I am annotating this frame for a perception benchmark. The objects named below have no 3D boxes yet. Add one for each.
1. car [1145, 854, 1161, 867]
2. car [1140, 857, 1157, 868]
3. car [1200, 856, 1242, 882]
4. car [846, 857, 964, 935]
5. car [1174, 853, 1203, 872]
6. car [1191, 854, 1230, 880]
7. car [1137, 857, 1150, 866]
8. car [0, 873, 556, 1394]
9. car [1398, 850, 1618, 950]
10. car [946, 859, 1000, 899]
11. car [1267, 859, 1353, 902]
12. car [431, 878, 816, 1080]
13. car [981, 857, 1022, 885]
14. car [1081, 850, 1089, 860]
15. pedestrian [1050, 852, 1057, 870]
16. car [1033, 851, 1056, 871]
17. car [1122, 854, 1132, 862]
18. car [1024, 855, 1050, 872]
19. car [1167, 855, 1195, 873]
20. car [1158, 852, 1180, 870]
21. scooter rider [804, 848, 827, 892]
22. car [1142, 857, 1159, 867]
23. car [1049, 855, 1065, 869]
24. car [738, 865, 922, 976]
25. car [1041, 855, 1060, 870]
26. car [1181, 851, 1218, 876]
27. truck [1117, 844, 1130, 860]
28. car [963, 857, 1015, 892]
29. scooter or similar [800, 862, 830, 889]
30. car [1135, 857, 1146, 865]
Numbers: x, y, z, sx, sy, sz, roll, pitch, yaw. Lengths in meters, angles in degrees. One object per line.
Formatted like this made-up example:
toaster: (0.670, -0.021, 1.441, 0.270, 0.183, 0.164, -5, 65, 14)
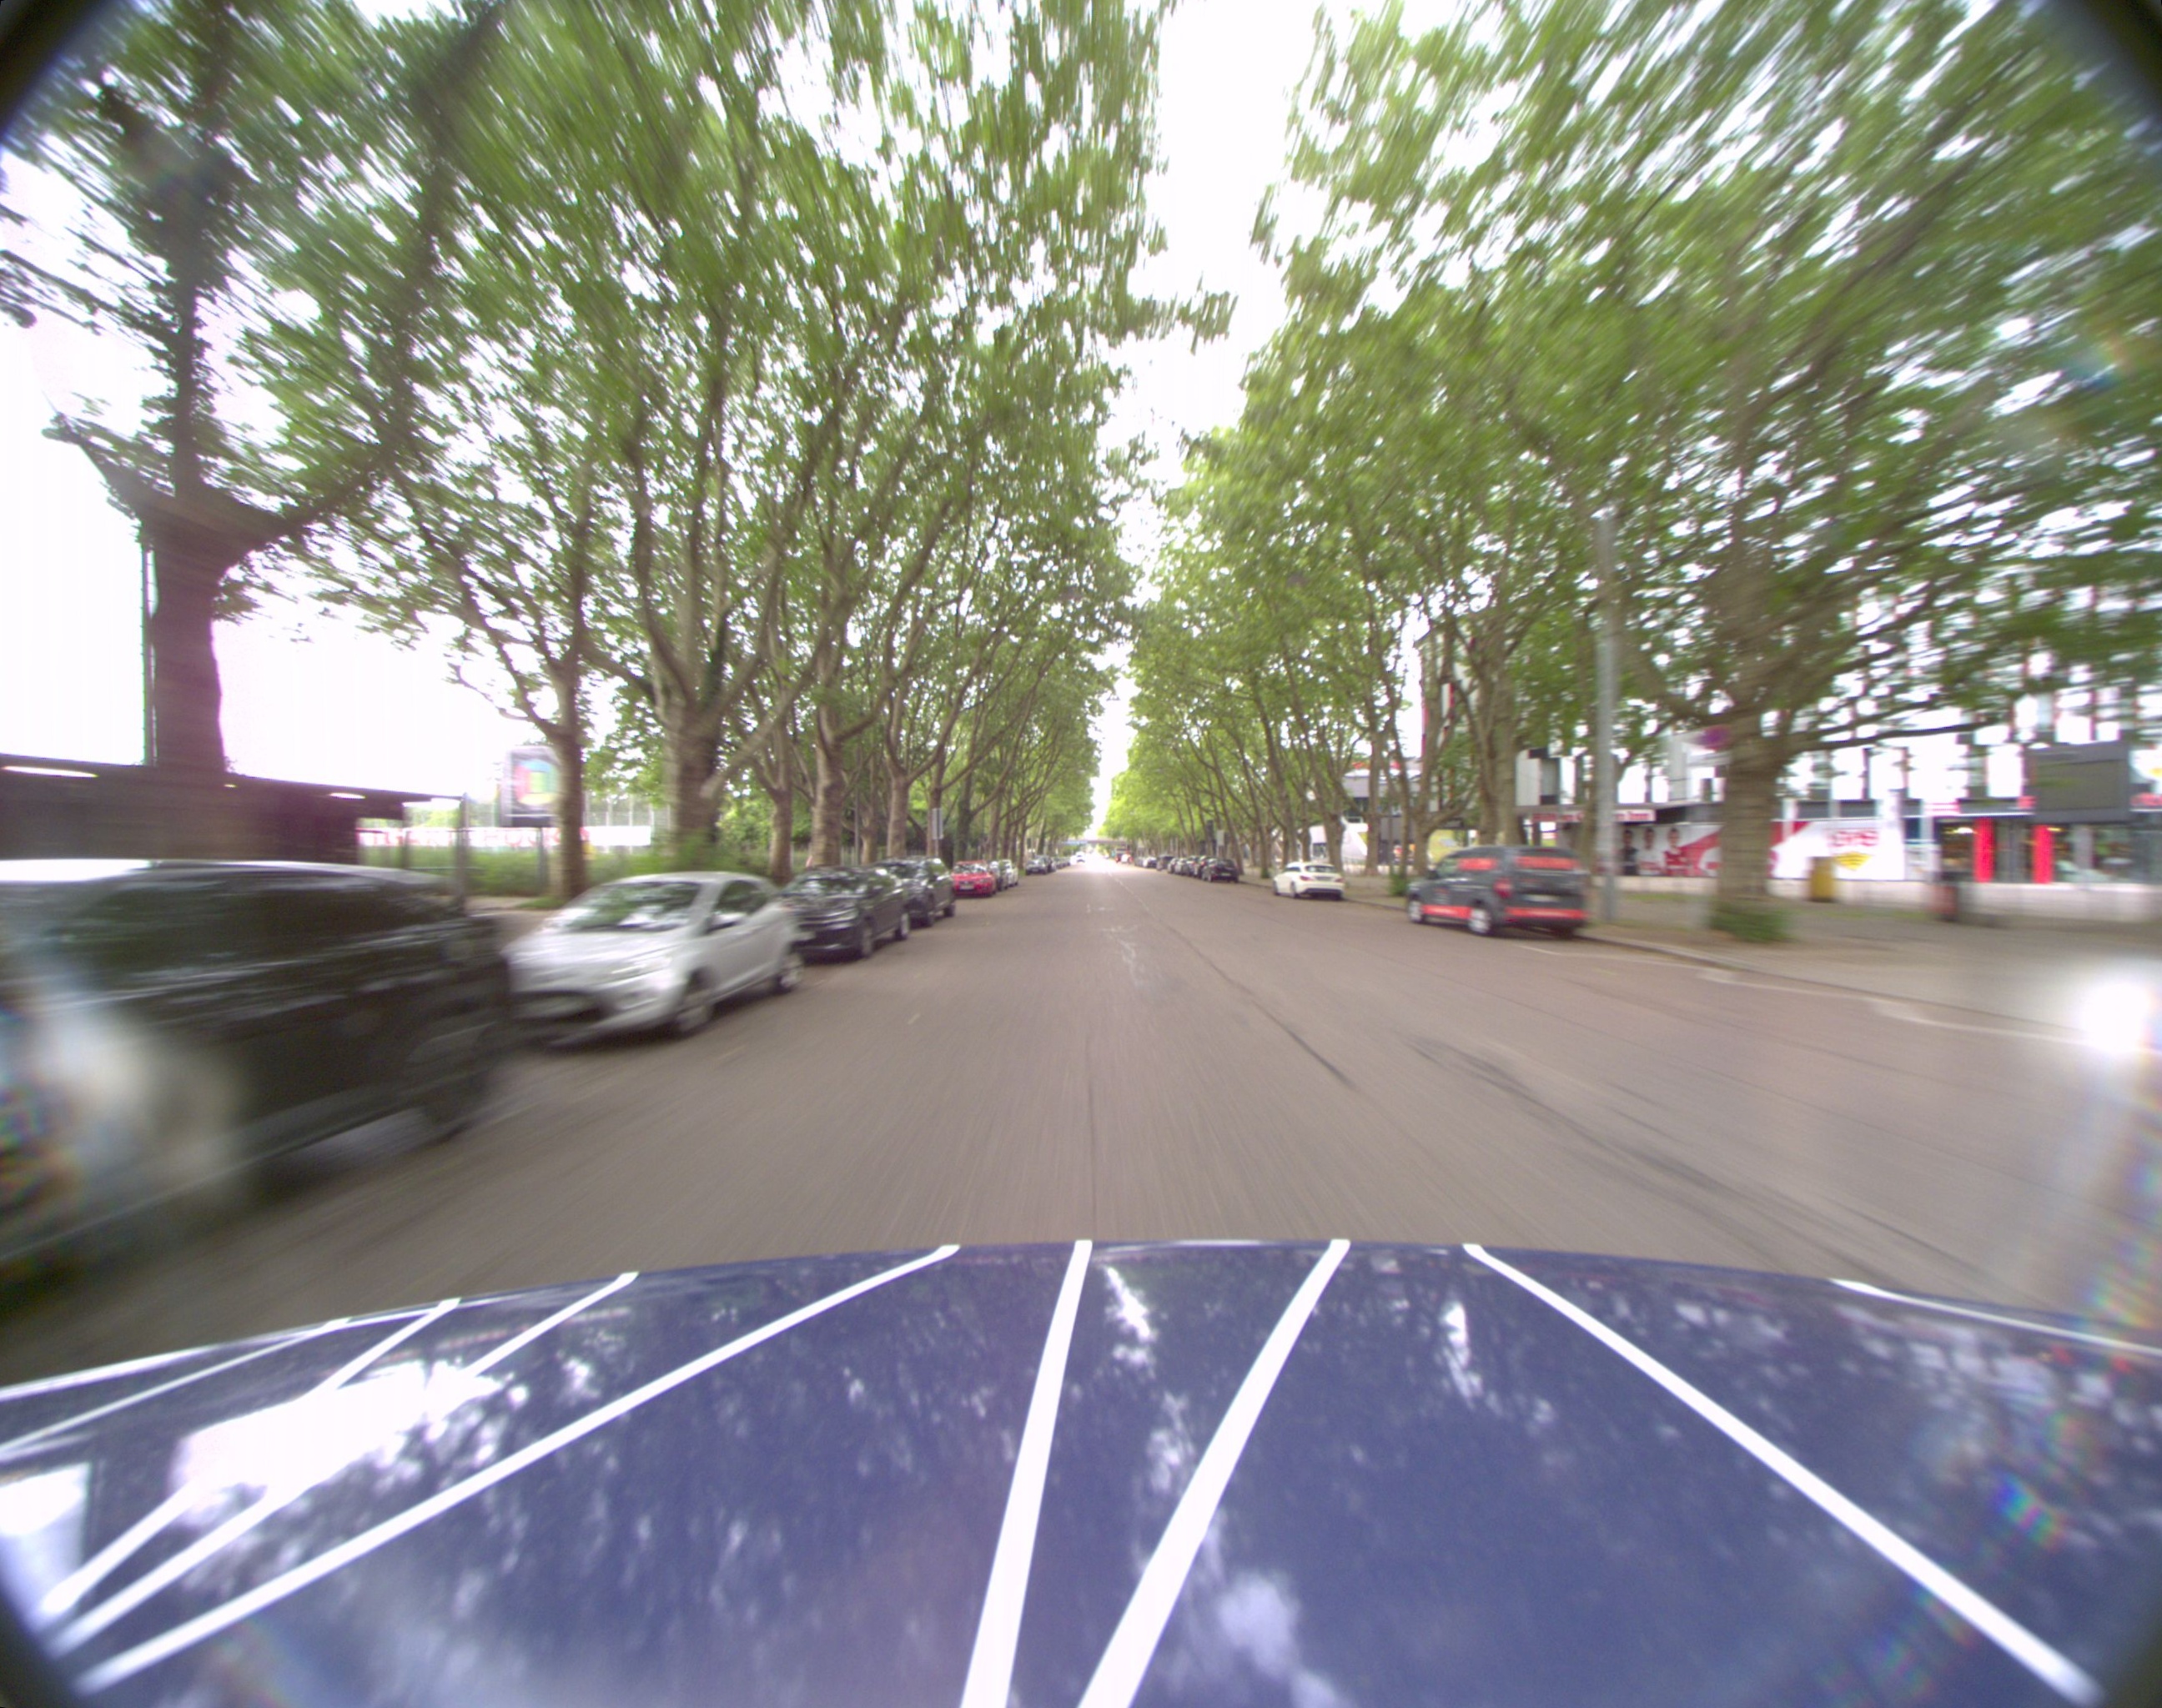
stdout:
car: (9.215, 0.830, 97.626, 1.822, 1.584, 4.345, 3, 0, 3)
car: (9.712, 1.184, 109.152, 1.824, 1.475, 4.992, 1, 0, -2)
car: (8.699, 0.881, 47.633, 1.838, 1.486, 4.443, 3, 0, 1)
car: (-4.163, 0.921, 18.719, 1.760, 1.610, 4.439, -2, 0, 1)
car: (8.996, 0.729, 63.973, 1.838, 1.447, 4.230, 3, 0, 1)
car: (8.976, 0.879, 53.009, 1.942, 1.633, 4.928, 3, 0, 2)
car: (9.894, 1.177, 120.817, 1.712, 1.374, 4.331, 3, 0, 0)
car: (-4.520, 0.983, 2.904, 1.782, 1.663, 4.637, -1, 0, 0)
car: (8.542, 0.814, 15.815, 1.954, 1.740, 4.638, 1, 0, 0)
car: (-4.301, 0.944, 30.911, 1.721, 1.430, 4.627, -2, 0, -3)
car: (8.798, 0.969, 29.636, 1.908, 1.394, 4.751, 3, 0, 1)
car: (-4.307, 1.058, 7.920, 1.620, 1.433, 3.710, -2, 0, 2)
car: (-4.213, 0.877, 40.936, 1.739, 1.430, 4.123, 0, 0, 1)
car: (1.013, 0.170, 194.819, 1.998, 2.484, 5.537, -1, 0, 1)
pedestrian: (-2.499, 0.638, 69.592, 0.635, 1.617, 0.742, 0, 0, 1)
car: (-3.679, 0.703, 75.418, 1.848, 1.772, 4.444, -2, 0, -8)
car: (10.382, 0.920, 171.637, 2.064, 1.950, 5.467, 0, 0, 2)
car: (-3.933, 0.817, 68.083, 1.998, 1.469, 4.371, -2, 0, 1)
car: (9.097, 0.905, 69.562, 2.088, 1.521, 5.146, 1, 0, 2)
car: (9.551, 0.709, 82.726, 1.900, 1.785, 4.612, 3, 0, 0)
scooter rider: (-10.942, 0.661, 31.347, 0.678, 1.789, 0.587, 2, 0, 1)
car: (9.480, 1.086, 103.339, 1.820, 1.354, 5.005, 2, 0, 0)
car: (-2.958, 0.967, 96.068, 1.834, 1.593, 4.467, -3, 0, 0)
car: (-4.167, 1.018, 13.415, 1.672, 1.500, 4.354, -2, 0, 1)
car: (-3.289, 0.905, 82.578, 1.623, 1.453, 3.946, -3, 0, 2)
car: (9.054, 0.697, 58.396, 1.874, 1.708, 4.647, 3, 0, -2)
truck: (10.829, -0.538, 195.333, 2.917, 3.846, 9.466, 1, 1, 1)
car: (-4.294, 0.909, 36.045, 1.734, 1.461, 4.080, -3, 0, 2)
scooter or similar: (-10.953, 0.867, 31.302, 0.682, 1.032, 1.467, 2, 0, 1)
car: (10.119, 1.208, 130.217, 1.698, 1.354, 4.001, 4, 0, 3)
